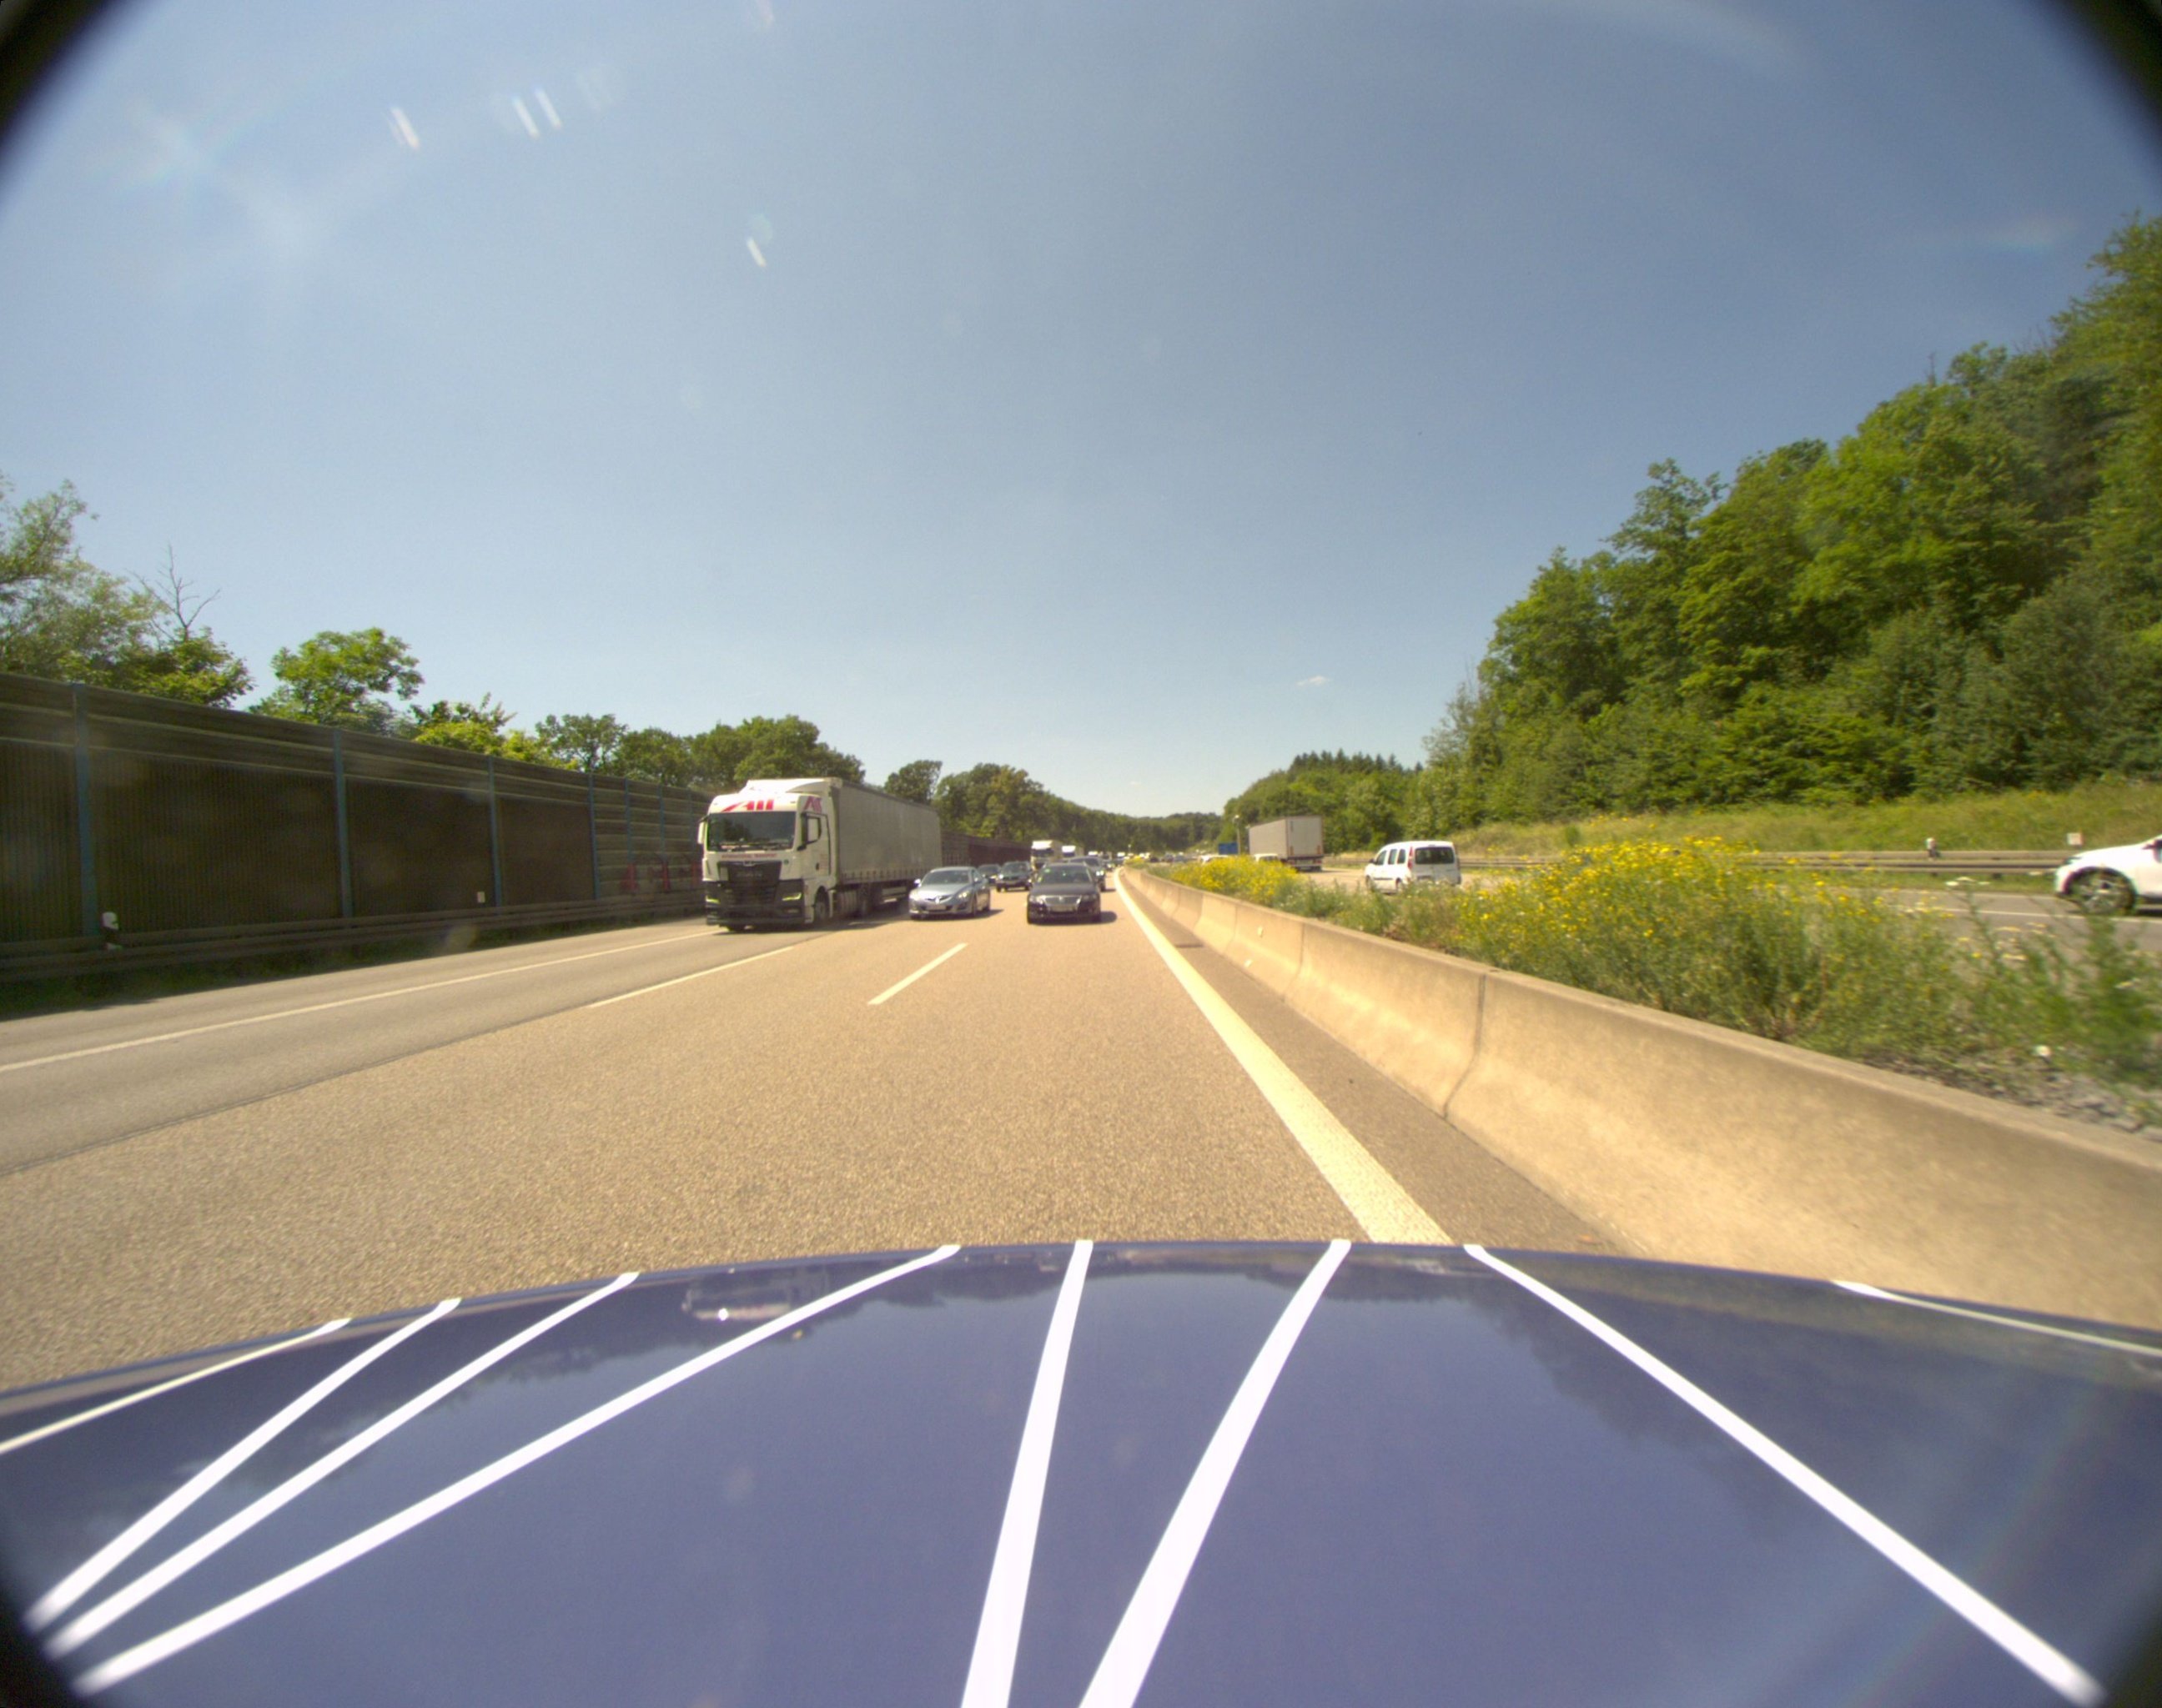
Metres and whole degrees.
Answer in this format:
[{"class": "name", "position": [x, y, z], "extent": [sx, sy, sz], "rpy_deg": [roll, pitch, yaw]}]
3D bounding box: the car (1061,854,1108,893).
[{"class": "car", "position": [0.222, 0.881, 36.030], "extent": [1.998, 1.641, 4.000], "rpy_deg": [-2, 0, 3]}]

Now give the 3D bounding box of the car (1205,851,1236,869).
[{"class": "car", "position": [12.089, 0.515, 66.055], "extent": [1.998, 1.489, 4.248], "rpy_deg": [-2, 0, 1]}]

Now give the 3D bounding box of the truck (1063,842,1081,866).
[{"class": "truck", "position": [-1.593, -0.017, 134.194], "extent": [2.545, 4.149, 4.747], "rpy_deg": [-2, 0, 4]}]

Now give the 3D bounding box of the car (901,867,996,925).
[{"class": "car", "position": [-3.751, 1.146, 22.213], "extent": [1.860, 1.426, 4.177], "rpy_deg": [-2, 0, 2]}]

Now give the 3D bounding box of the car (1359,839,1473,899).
[{"class": "car", "position": [10.892, 0.440, 25.089], "extent": [1.889, 1.745, 4.277], "rpy_deg": [-2, 0, 1]}]

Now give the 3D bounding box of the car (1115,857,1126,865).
[{"class": "car", "position": [8.626, 1.515, 166.040], "extent": [1.997, 1.641, 4.002], "rpy_deg": [-2, 0, 6]}]

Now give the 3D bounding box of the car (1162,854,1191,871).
[{"class": "car", "position": [8.193, 0.685, 65.315], "extent": [1.998, 1.333, 4.248], "rpy_deg": [-2, 0, 1]}]

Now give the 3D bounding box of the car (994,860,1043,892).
[{"class": "car", "position": [-3.260, 1.120, 40.376], "extent": [1.907, 1.550, 4.001], "rpy_deg": [-2, 0, 4]}]

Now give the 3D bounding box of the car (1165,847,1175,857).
[{"class": "car", "position": [23.627, -0.552, 202.357], "extent": [2.221, 2.685, 6.063], "rpy_deg": [-2, 0, 3]}]

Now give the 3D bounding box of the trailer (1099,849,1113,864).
[{"class": "trailer", "position": [7.383, 0.717, 224.859], "extent": [3.154, 4.061, 6.186], "rpy_deg": [-2, 0, 9]}]

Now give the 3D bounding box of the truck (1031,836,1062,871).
[{"class": "truck", "position": [-4.246, -0.012, 95.565], "extent": [2.810, 4.190, 5.424], "rpy_deg": [-2, 0, 7]}]

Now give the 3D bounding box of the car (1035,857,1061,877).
[{"class": "car", "position": [-2.885, 1.104, 67.175], "extent": [1.998, 1.641, 4.000], "rpy_deg": [-2, 0, 1]}]

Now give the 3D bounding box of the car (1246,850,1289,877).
[{"class": "car", "position": [11.347, 0.553, 46.469], "extent": [1.679, 1.489, 3.883], "rpy_deg": [-2, 0, 1]}]

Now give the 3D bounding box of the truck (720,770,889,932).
[{"class": "truck", "position": [-7.820, -0.079, 22.334], "extent": [2.604, 4.066, 5.553], "rpy_deg": [-2, 0, 2]}]

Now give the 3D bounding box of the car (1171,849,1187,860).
[{"class": "car", "position": [15.511, 0.034, 120.123], "extent": [1.998, 1.618, 4.475], "rpy_deg": [-2, 0, 2]}]

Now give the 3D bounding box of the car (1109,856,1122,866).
[{"class": "car", "position": [6.290, 1.233, 136.317], "extent": [1.997, 1.641, 4.002], "rpy_deg": [-2, 0, 6]}]

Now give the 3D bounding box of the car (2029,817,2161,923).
[{"class": "car", "position": [18.152, 0.215, 11.362], "extent": [1.998, 1.682, 4.767], "rpy_deg": [-2, 0, 1]}]

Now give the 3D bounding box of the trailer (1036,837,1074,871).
[{"class": "trailer", "position": [-3.349, -0.011, 102.405], "extent": [2.820, 4.190, 13.473], "rpy_deg": [-2, 0, 8]}]

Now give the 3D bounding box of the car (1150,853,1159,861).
[{"class": "car", "position": [17.863, 0.704, 184.807], "extent": [1.998, 1.713, 4.357], "rpy_deg": [-2, 0, 2]}]

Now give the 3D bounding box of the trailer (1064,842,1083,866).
[{"class": "trailer", "position": [-1.253, -0.046, 138.821], "extent": [2.542, 4.149, 10.180], "rpy_deg": [-2, 0, 4]}]

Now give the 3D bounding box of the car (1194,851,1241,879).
[{"class": "car", "position": [7.944, 0.613, 44.744], "extent": [1.943, 1.494, 4.659], "rpy_deg": [-2, 0, 1]}]

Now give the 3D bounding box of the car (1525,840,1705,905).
[{"class": "car", "position": [14.037, 0.447, 20.302], "extent": [1.998, 1.483, 4.000], "rpy_deg": [-2, 0, 1]}]

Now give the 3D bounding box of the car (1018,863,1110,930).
[{"class": "car", "position": [-0.319, 0.999, 19.364], "extent": [1.907, 1.410, 4.001], "rpy_deg": [-2, 0, 4]}]

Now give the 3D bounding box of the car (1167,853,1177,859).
[{"class": "car", "position": [20.903, 0.512, 174.708], "extent": [1.817, 1.393, 4.272], "rpy_deg": [-2, 0, 2]}]

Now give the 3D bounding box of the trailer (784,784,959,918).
[{"class": "trailer", "position": [-7.565, -0.115, 30.274], "extent": [2.604, 4.066, 13.592], "rpy_deg": [-2, 0, 2]}]

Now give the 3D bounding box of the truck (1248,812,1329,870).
[{"class": "truck", "position": [15.746, -0.886, 58.993], "extent": [2.835, 3.915, 13.747], "rpy_deg": [-2, 0, 2]}]

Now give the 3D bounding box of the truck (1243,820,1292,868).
[{"class": "truck", "position": [16.014, -0.834, 65.696], "extent": [2.835, 3.916, 6.007], "rpy_deg": [-2, 0, 2]}]

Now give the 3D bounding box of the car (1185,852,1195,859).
[{"class": "car", "position": [24.247, 0.361, 169.575], "extent": [1.844, 1.444, 4.001], "rpy_deg": [-2, 0, 2]}]

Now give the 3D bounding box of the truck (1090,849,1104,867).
[{"class": "truck", "position": [4.046, 1.028, 190.673], "extent": [2.852, 4.381, 5.242], "rpy_deg": [-2, 0, 8]}]
